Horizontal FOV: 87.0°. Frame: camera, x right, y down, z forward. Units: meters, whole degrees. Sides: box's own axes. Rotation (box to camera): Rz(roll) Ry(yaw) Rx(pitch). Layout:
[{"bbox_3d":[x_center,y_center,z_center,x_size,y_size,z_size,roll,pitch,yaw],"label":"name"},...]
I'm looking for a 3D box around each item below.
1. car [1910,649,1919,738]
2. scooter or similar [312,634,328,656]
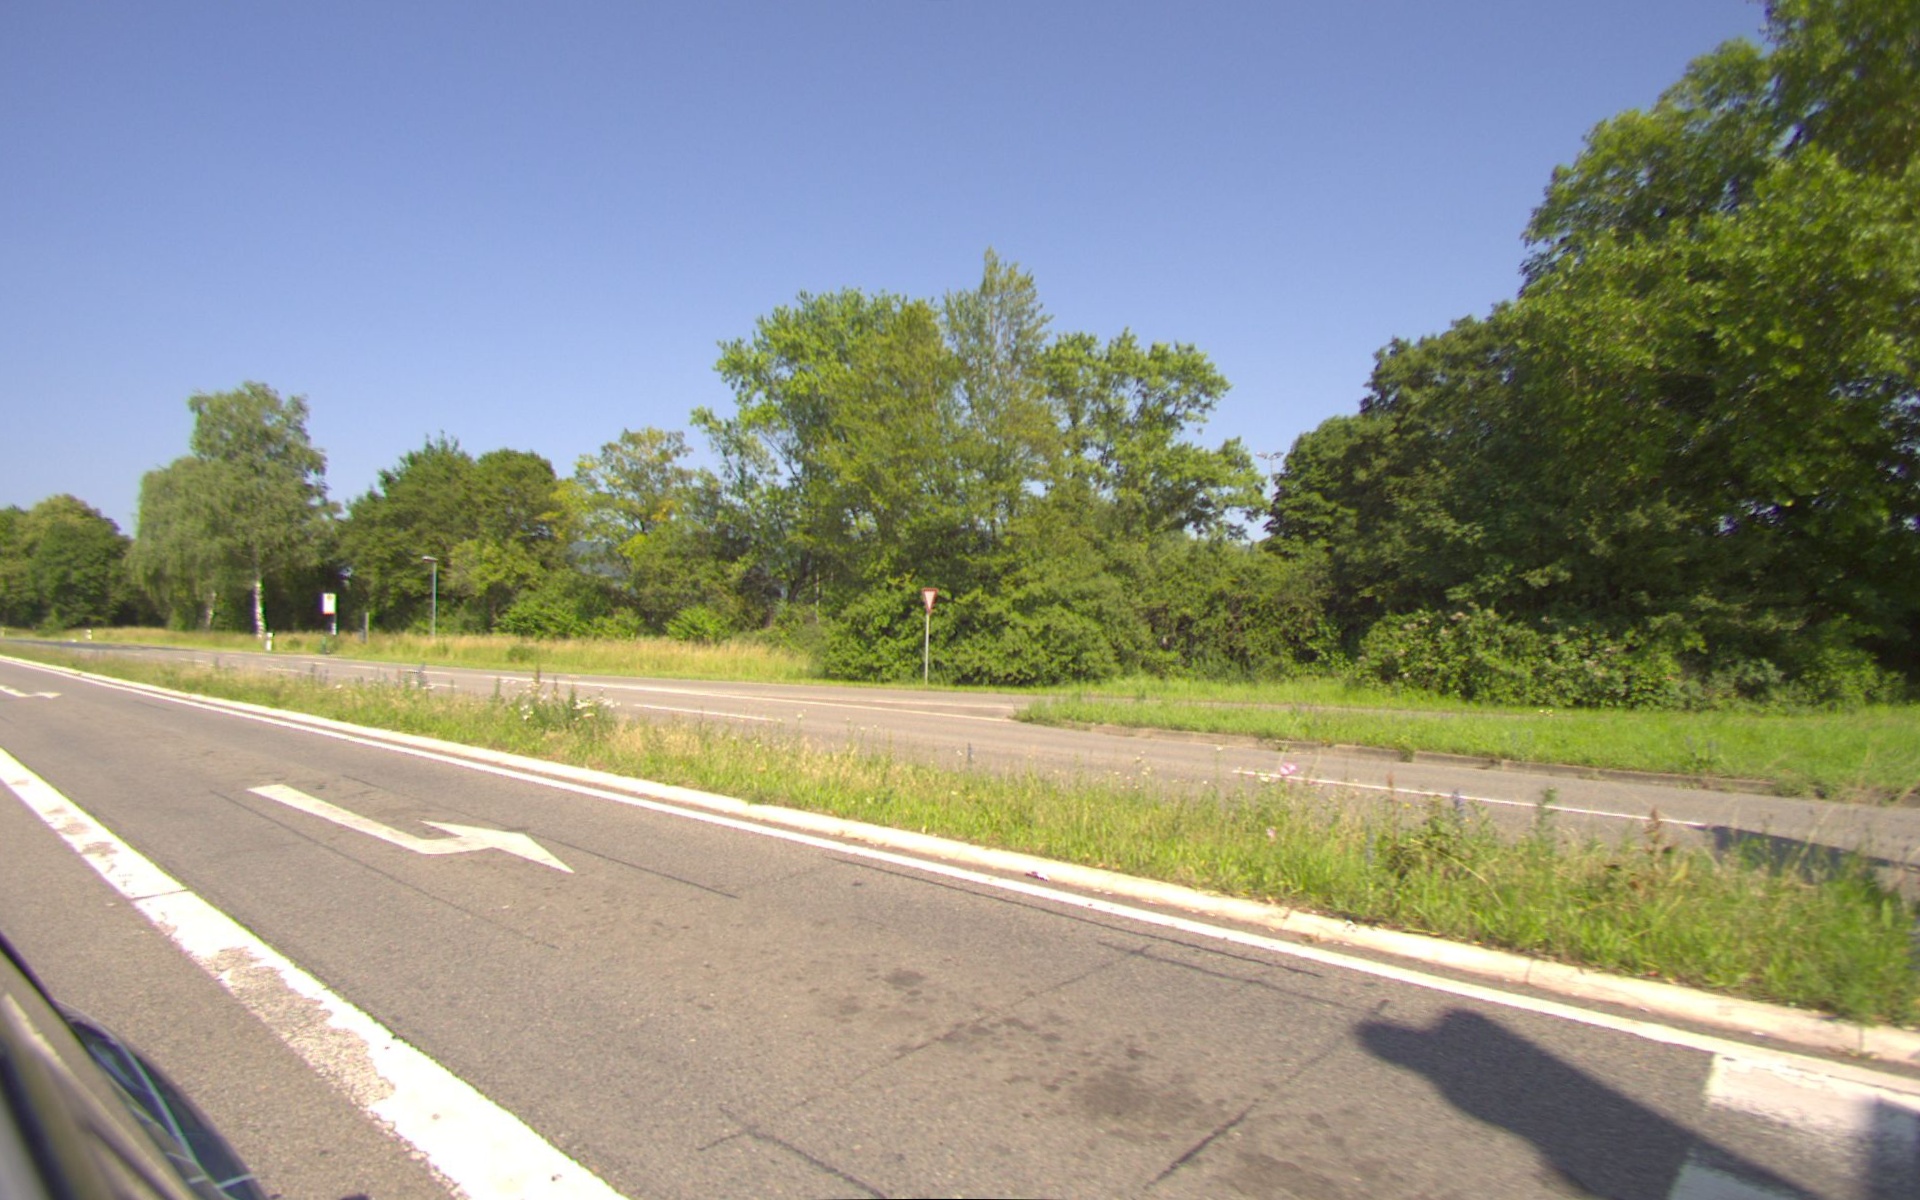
[{"bbox_3d":[18.003,1.575,15.713,4.256,1.507,1.985,1,-2,23],"label":"car"},{"bbox_3d":[-35.291,2.478,55.811,1.340,1.195,0.364,-1,-3,42],"label":"scooter or similar"}]
